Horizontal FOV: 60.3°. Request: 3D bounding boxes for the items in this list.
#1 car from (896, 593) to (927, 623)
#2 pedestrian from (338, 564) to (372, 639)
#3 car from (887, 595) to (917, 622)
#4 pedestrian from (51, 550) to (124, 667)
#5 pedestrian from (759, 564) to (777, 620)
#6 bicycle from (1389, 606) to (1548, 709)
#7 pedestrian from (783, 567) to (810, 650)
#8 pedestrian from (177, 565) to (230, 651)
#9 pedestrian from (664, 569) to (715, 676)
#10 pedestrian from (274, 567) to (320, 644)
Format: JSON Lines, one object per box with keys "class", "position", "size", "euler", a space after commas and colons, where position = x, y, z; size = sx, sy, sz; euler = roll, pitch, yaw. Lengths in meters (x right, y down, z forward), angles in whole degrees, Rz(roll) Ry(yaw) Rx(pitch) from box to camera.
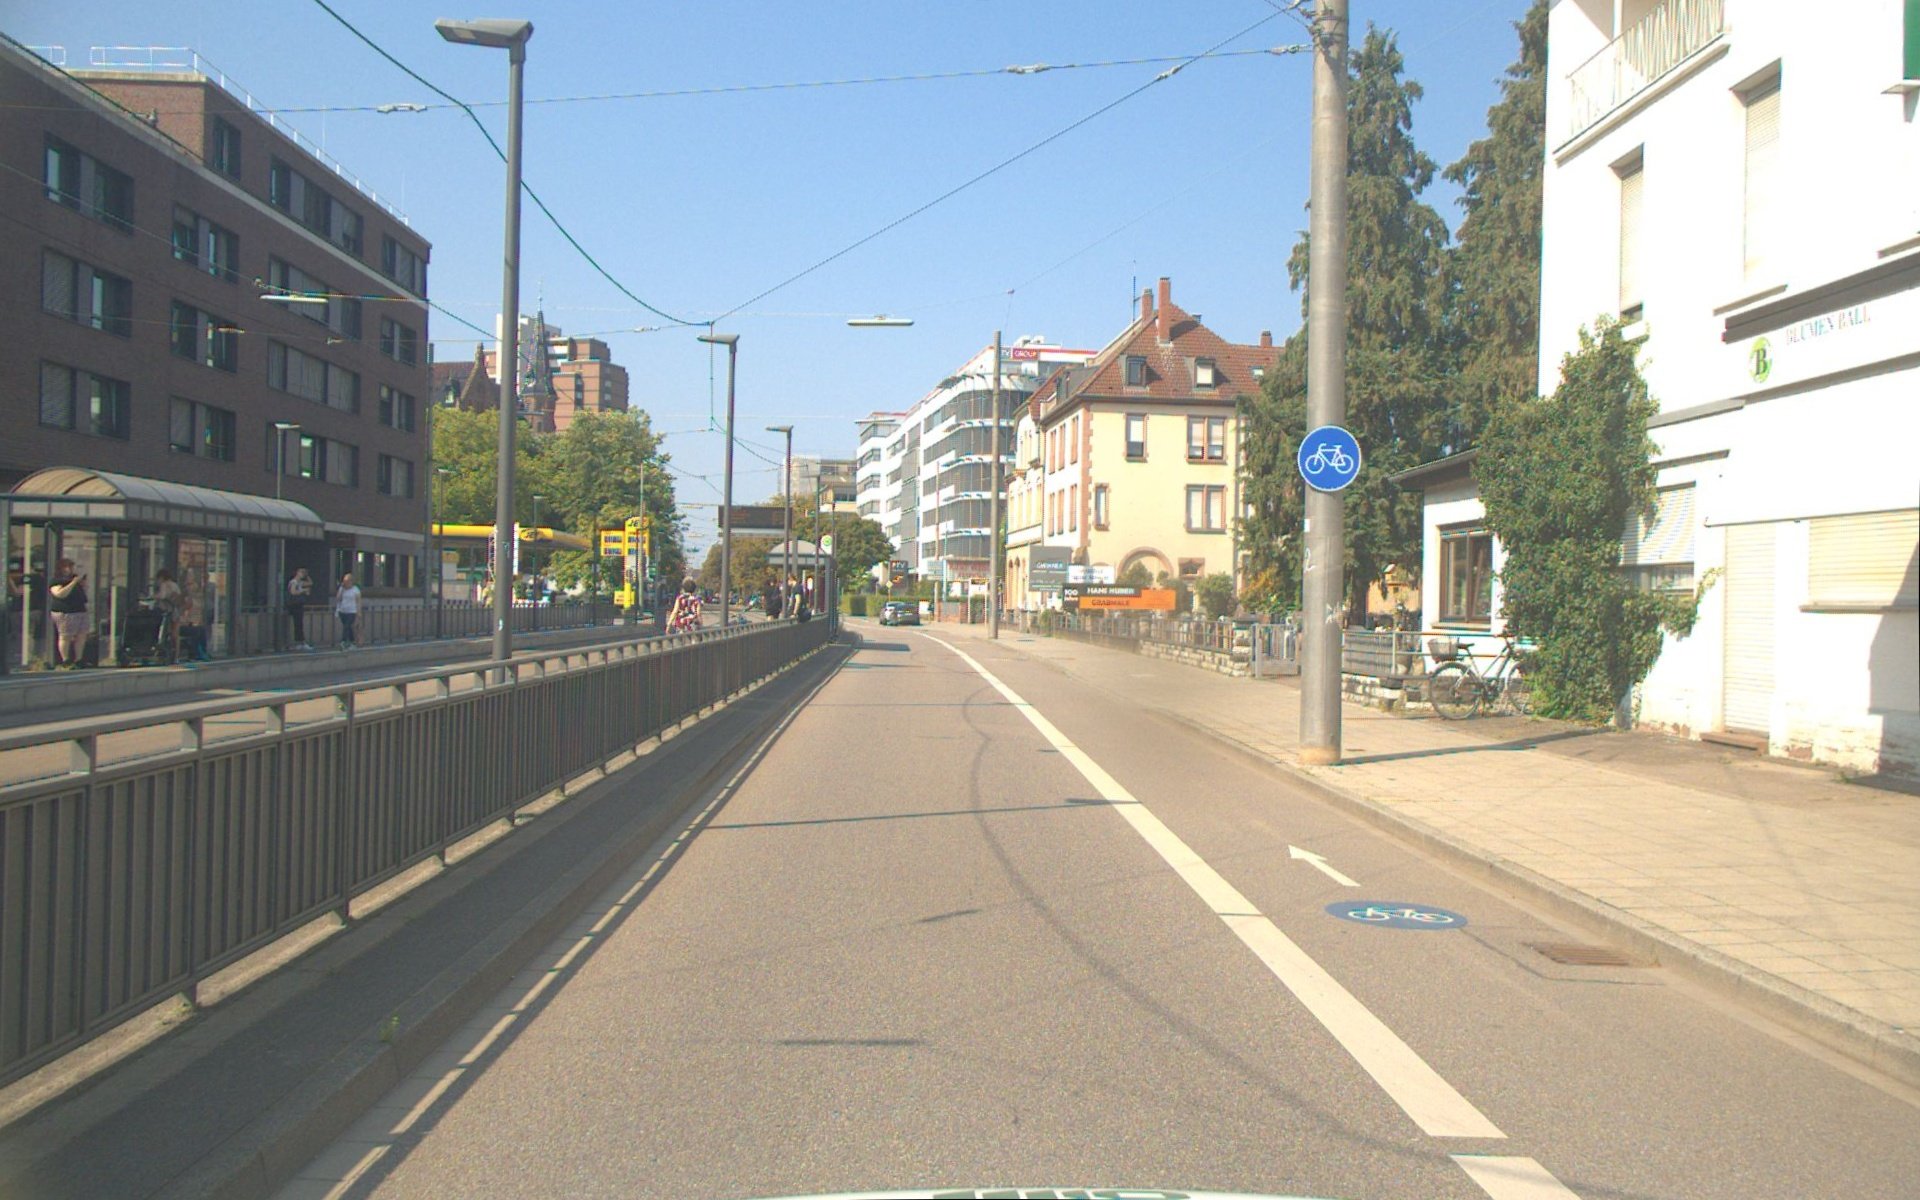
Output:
{"class": "car", "position": [-3.254, 0.520, 110.522], "size": [1.970, 1.891, 3.999], "euler": [-1, 0, -1]}
{"class": "pedestrian", "position": [-12.803, 0.027, 34.999], "size": [0.522, 1.557, 0.700], "euler": [-1, 0, -8]}
{"class": "car", "position": [-4.059, 0.584, 116.754], "size": [1.970, 1.891, 3.999], "euler": [-1, 0, -1]}
{"class": "pedestrian", "position": [-13.557, 0.129, 25.713], "size": [0.693, 1.777, 0.799], "euler": [-1, 0, -1]}
{"class": "pedestrian", "position": [-5.997, -0.241, 51.720], "size": [0.526, 1.733, 0.581], "euler": [-1, 0, -4]}
{"class": "bicycle", "position": [6.347, 0.683, 20.861], "size": [0.717, 1.152, 2.834], "euler": [-2, 1, -9]}
{"class": "pedestrian", "position": [-3.463, 0.171, 35.015], "size": [0.526, 1.733, 0.581], "euler": [-1, 0, -4]}
{"class": "pedestrian", "position": [-13.309, 0.151, 29.108], "size": [0.685, 1.494, 0.534], "euler": [-1, -1, 0]}
{"class": "pedestrian", "position": [-4.487, 0.368, 27.491], "size": [0.705, 1.733, 0.884], "euler": [-1, 0, -1]}
{"class": "pedestrian", "position": [-13.085, 0.115, 32.629], "size": [0.685, 1.494, 0.534], "euler": [-1, -1, 0]}
